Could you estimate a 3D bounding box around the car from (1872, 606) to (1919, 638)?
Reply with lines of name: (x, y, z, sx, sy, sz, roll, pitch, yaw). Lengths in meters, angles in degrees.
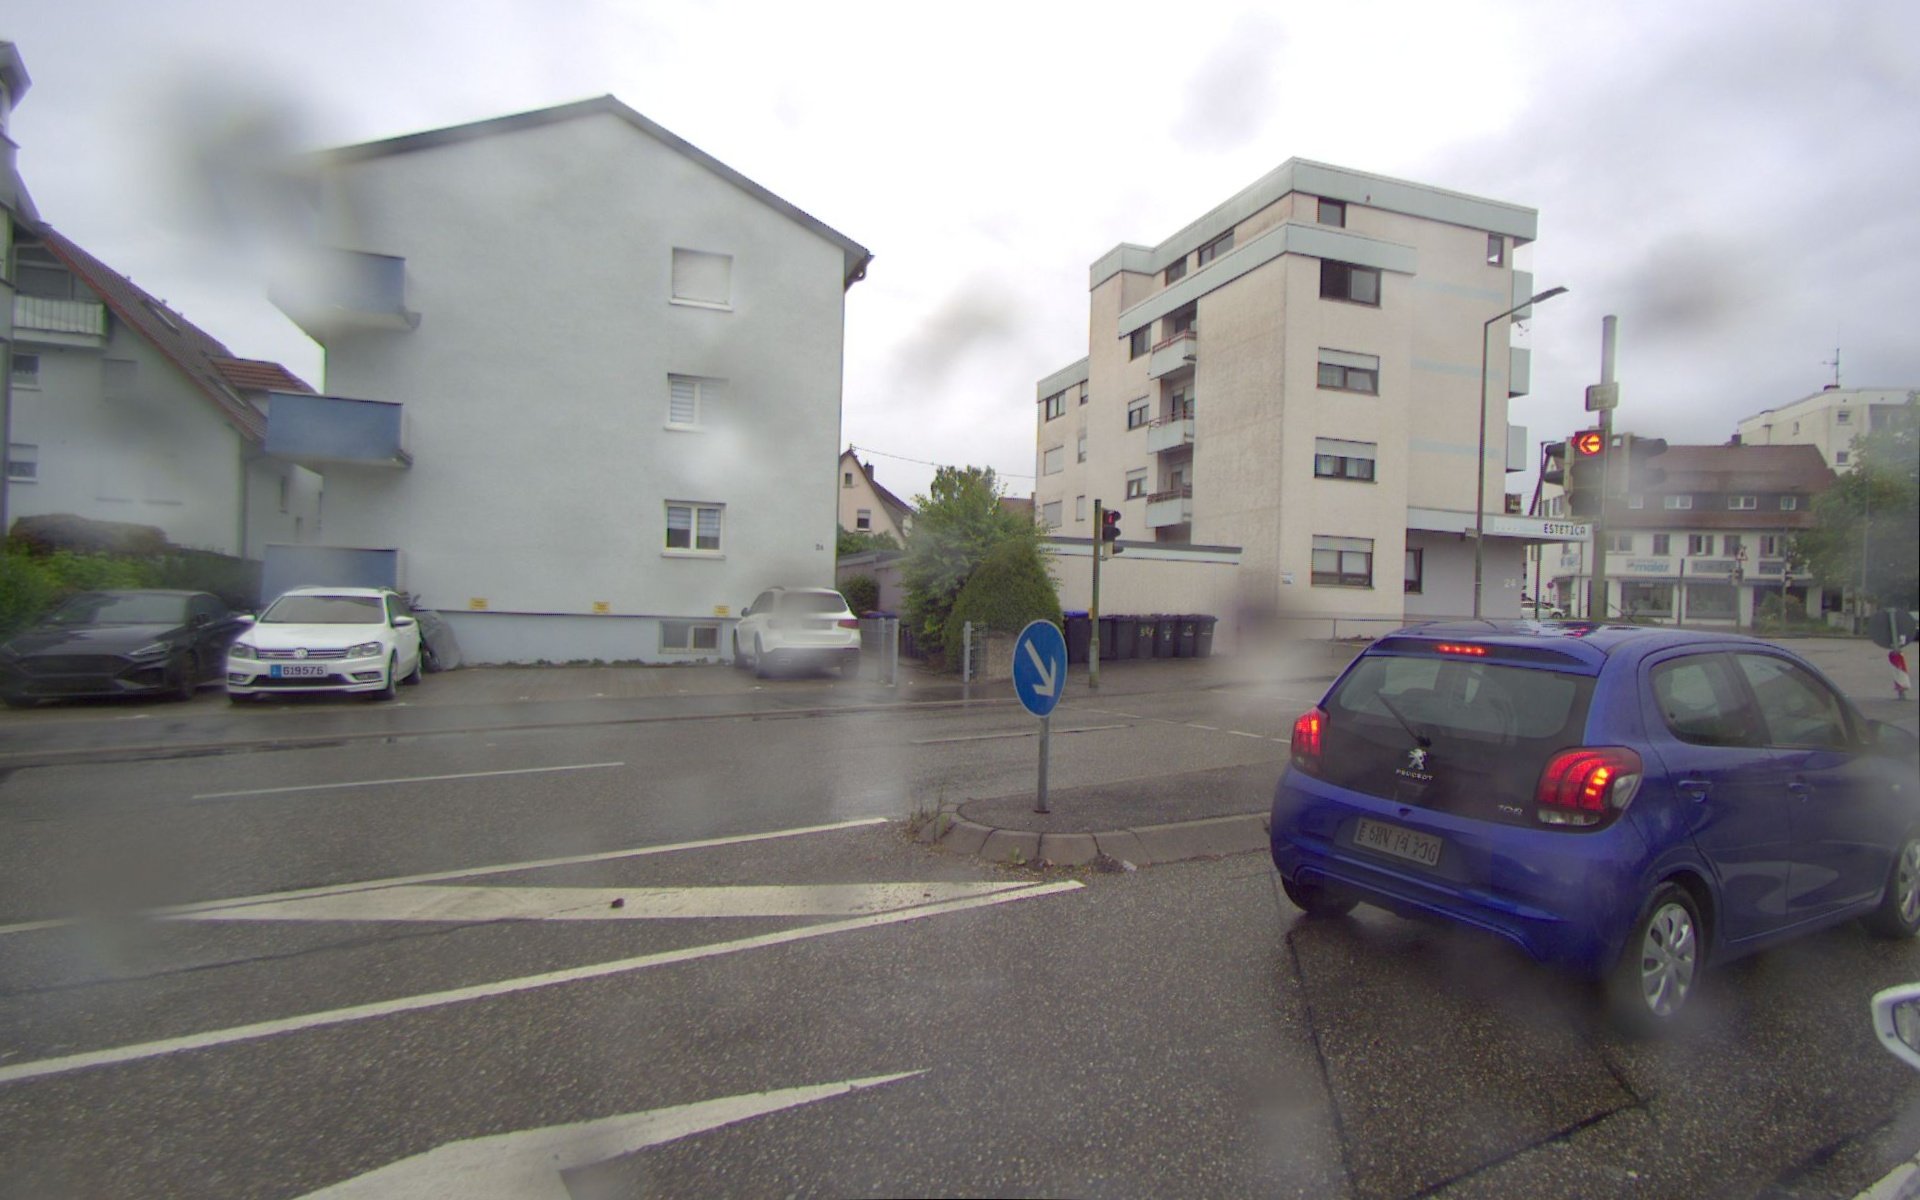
car: (44.807, 1.018, 47.255, 3.786, 1.439, 1.770, 1, 0, -31)

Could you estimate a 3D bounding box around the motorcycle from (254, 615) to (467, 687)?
motorcycle: (-10.451, 0.844, 17.657, 0.864, 1.115, 3.113, 1, 1, 42)

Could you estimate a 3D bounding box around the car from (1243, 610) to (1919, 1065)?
car: (3.088, 0.791, 4.736, 3.231, 1.429, 1.571, 1, 1, -30)

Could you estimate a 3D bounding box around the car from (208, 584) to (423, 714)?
car: (-8.669, 0.575, 13.900, 1.878, 1.493, 4.208, 0, 0, -24)

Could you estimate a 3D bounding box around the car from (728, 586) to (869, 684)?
car: (-3.251, 0.607, 19.475, 1.909, 1.658, 4.445, 0, 0, -20)

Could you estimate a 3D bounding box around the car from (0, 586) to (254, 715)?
car: (-10.878, 0.566, 13.192, 1.878, 1.430, 3.976, 0, 0, -24)

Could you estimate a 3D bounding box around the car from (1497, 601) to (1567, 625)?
car: (40.301, 0.922, 70.841, 3.887, 1.593, 1.873, 1, 1, 16)
